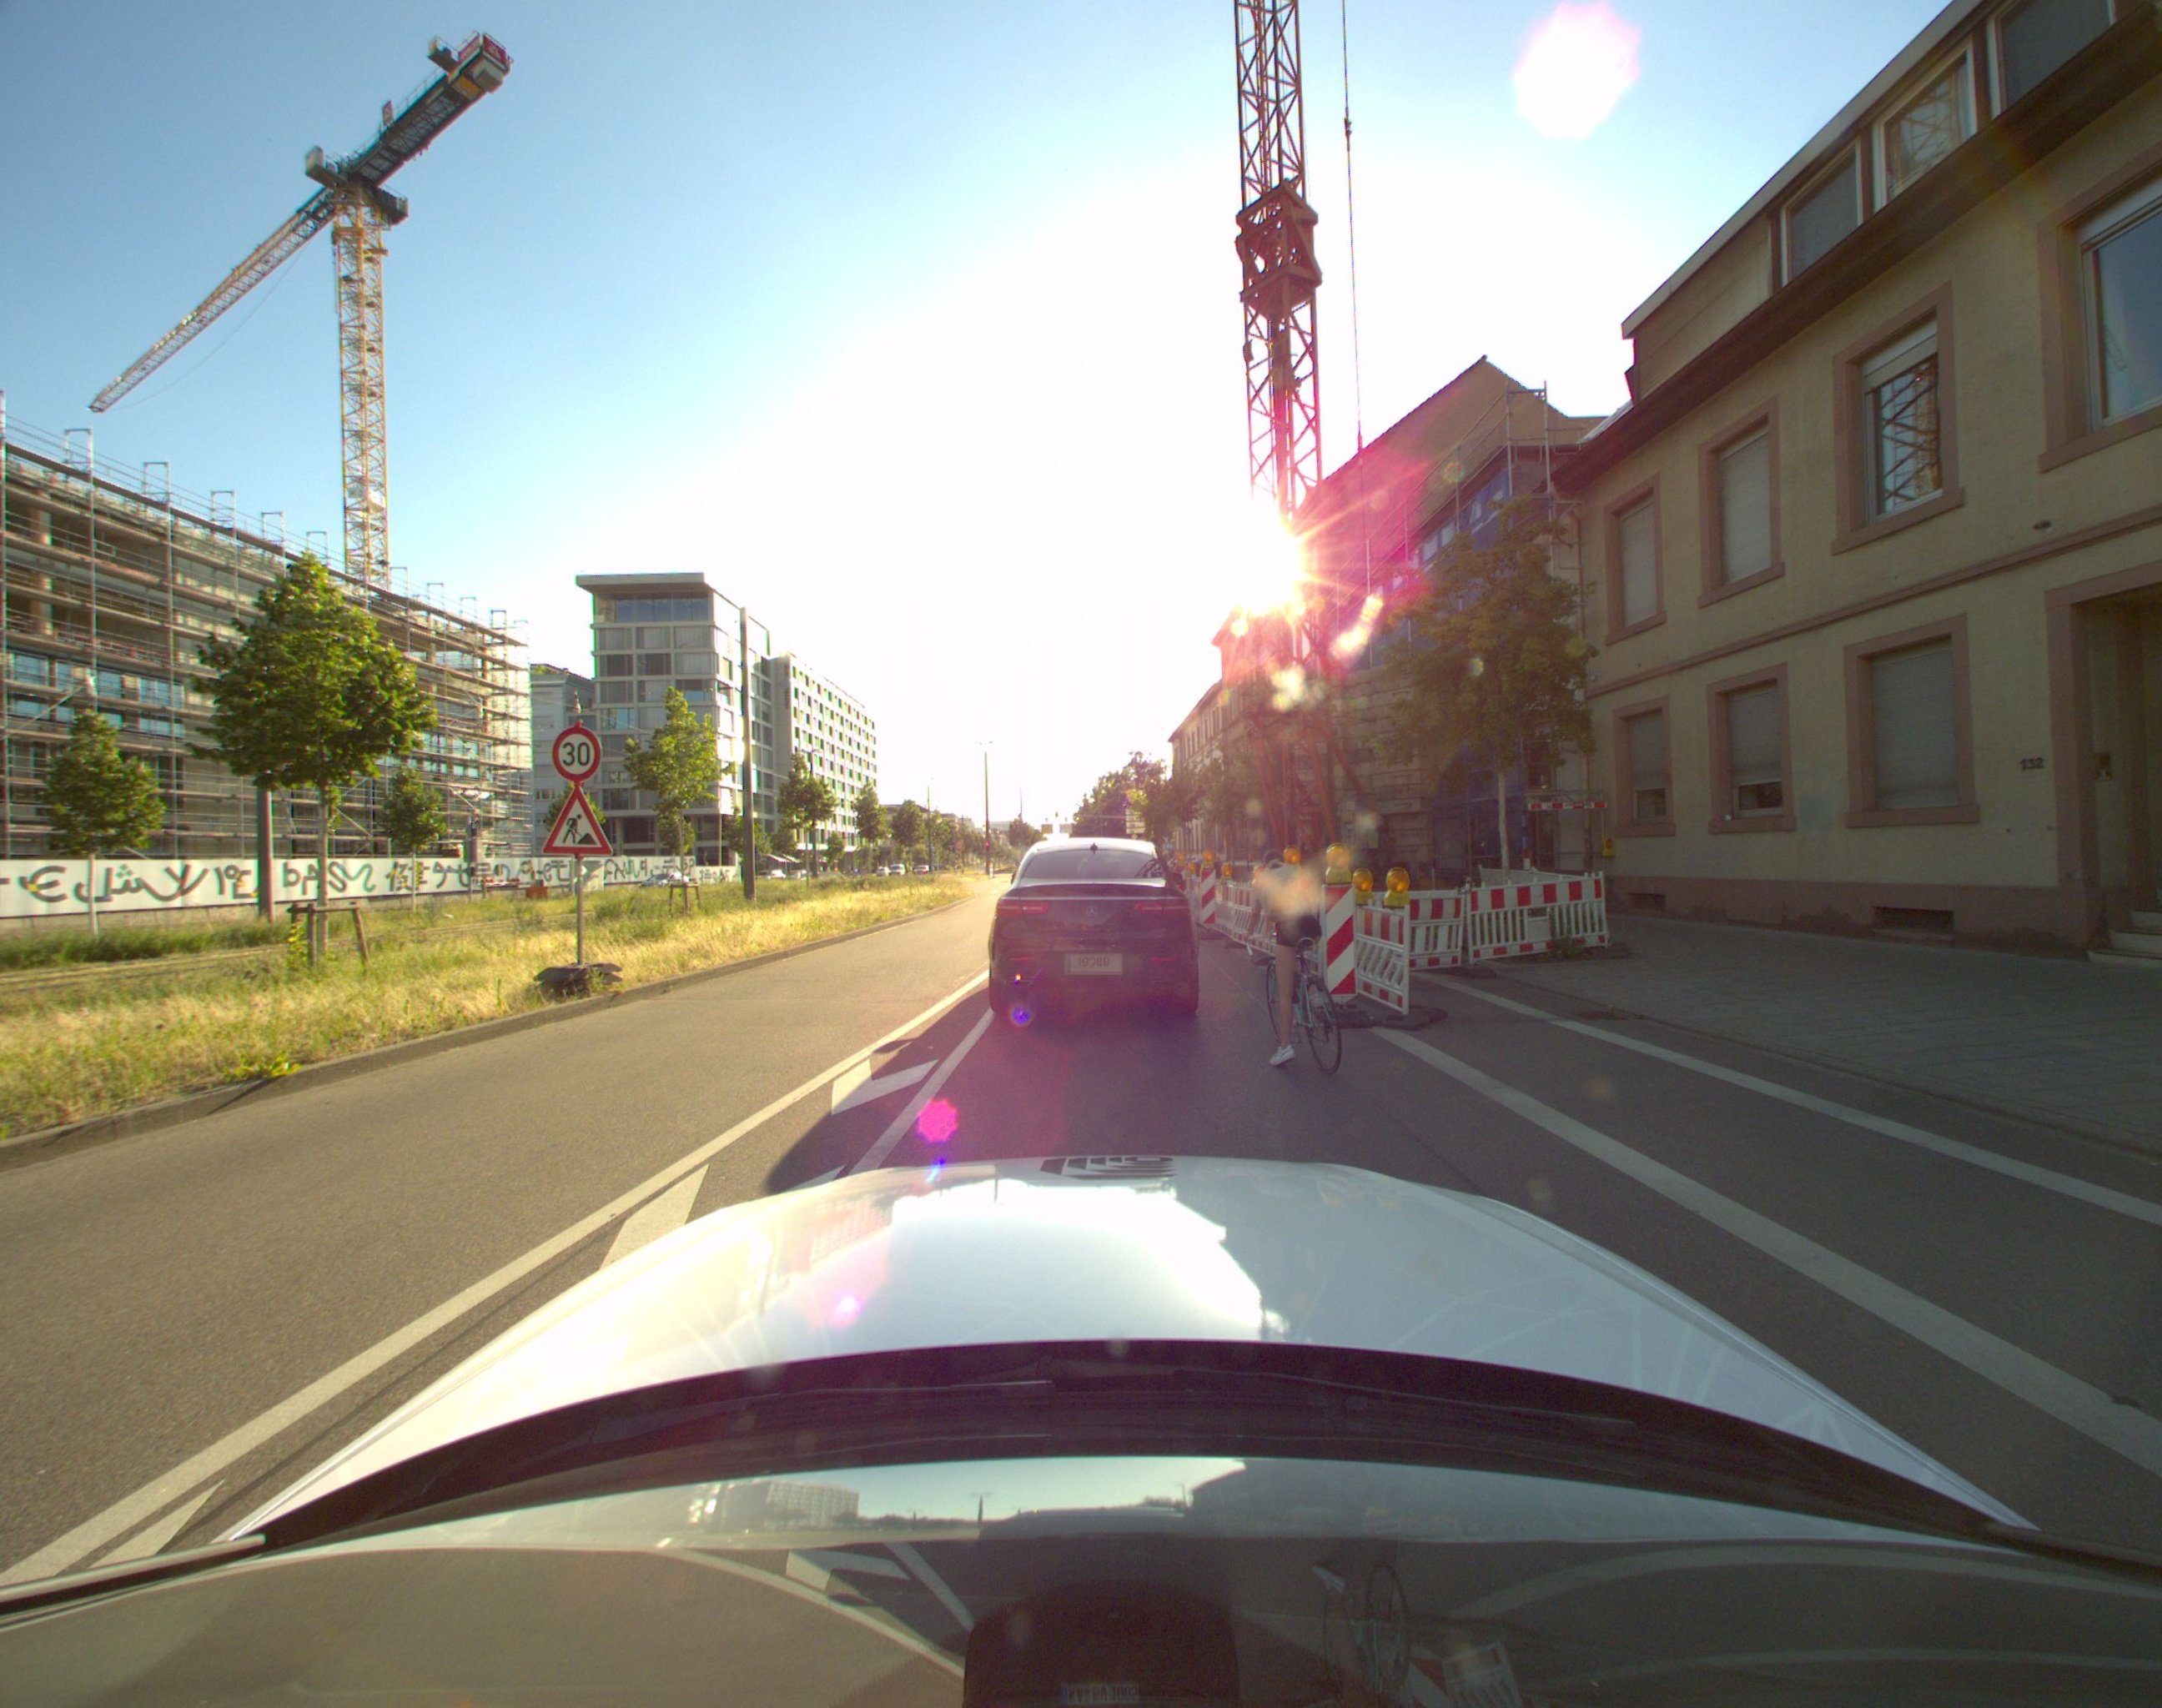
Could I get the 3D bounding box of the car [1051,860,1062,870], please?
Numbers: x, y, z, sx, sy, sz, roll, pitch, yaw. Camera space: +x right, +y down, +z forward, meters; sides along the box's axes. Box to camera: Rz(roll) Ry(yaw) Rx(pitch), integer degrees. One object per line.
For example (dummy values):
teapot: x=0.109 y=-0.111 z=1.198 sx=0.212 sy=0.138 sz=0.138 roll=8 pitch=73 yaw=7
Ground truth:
car: x=-3.874 y=1.767 z=130.345 sx=1.703 sy=1.442 sz=3.581 roll=0 pitch=-1 yaw=0

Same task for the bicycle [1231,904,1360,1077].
bicycle: x=1.589 y=0.964 z=6.289 sx=0.511 sy=1.052 sz=1.724 roll=0 pitch=-1 yaw=-1

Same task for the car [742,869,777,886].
car: x=-28.652 y=2.042 z=72.707 sx=1.703 sy=1.442 sz=3.581 roll=0 pitch=-1 yaw=0

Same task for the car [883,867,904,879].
car: x=-25.958 y=2.626 z=113.103 sx=1.782 sy=1.684 sz=3.643 roll=0 pitch=-1 yaw=5

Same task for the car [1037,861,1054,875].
car: x=-3.838 y=1.490 z=88.961 sx=1.703 sy=1.442 sz=3.581 roll=0 pitch=-1 yaw=0

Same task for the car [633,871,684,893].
car: x=-29.776 y=1.926 z=57.525 sx=1.703 sy=1.442 sz=3.581 roll=0 pitch=-1 yaw=0

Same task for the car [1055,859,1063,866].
car: x=-4.881 y=1.933 z=184.820 sx=1.703 sy=1.442 sz=3.581 roll=0 pitch=-1 yaw=0

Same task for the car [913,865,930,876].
car: x=-22.614 y=2.346 z=115.424 sx=1.703 sy=1.442 sz=3.581 roll=0 pitch=-1 yaw=0

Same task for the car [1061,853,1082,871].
car: x=-0.767 y=0.639 z=68.241 sx=1.703 sy=1.442 sz=3.581 roll=0 pitch=-1 yaw=0

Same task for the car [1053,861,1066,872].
car: x=-2.983 y=1.747 z=113.315 sx=1.703 sy=1.442 sz=3.581 roll=0 pitch=-1 yaw=0

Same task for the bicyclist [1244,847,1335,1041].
bicyclist: x=1.570 y=0.651 z=6.197 sx=0.521 sy=1.395 sz=0.614 roll=0 pitch=-1 yaw=-1

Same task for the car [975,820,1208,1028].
car: x=0.154 y=0.618 z=8.983 sx=1.986 sy=1.772 sz=4.001 roll=0 pitch=-1 yaw=2

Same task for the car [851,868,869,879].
car: x=-32.183 y=2.824 z=118.510 sx=1.703 sy=1.442 sz=3.581 roll=0 pitch=-1 yaw=0

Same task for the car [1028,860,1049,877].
car: x=-3.684 y=1.282 z=70.971 sx=1.703 sy=1.442 sz=3.581 roll=0 pitch=-1 yaw=0

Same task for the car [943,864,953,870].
car: x=-30.732 y=2.999 z=188.192 sx=1.703 sy=1.442 sz=3.581 roll=0 pitch=-1 yaw=0
